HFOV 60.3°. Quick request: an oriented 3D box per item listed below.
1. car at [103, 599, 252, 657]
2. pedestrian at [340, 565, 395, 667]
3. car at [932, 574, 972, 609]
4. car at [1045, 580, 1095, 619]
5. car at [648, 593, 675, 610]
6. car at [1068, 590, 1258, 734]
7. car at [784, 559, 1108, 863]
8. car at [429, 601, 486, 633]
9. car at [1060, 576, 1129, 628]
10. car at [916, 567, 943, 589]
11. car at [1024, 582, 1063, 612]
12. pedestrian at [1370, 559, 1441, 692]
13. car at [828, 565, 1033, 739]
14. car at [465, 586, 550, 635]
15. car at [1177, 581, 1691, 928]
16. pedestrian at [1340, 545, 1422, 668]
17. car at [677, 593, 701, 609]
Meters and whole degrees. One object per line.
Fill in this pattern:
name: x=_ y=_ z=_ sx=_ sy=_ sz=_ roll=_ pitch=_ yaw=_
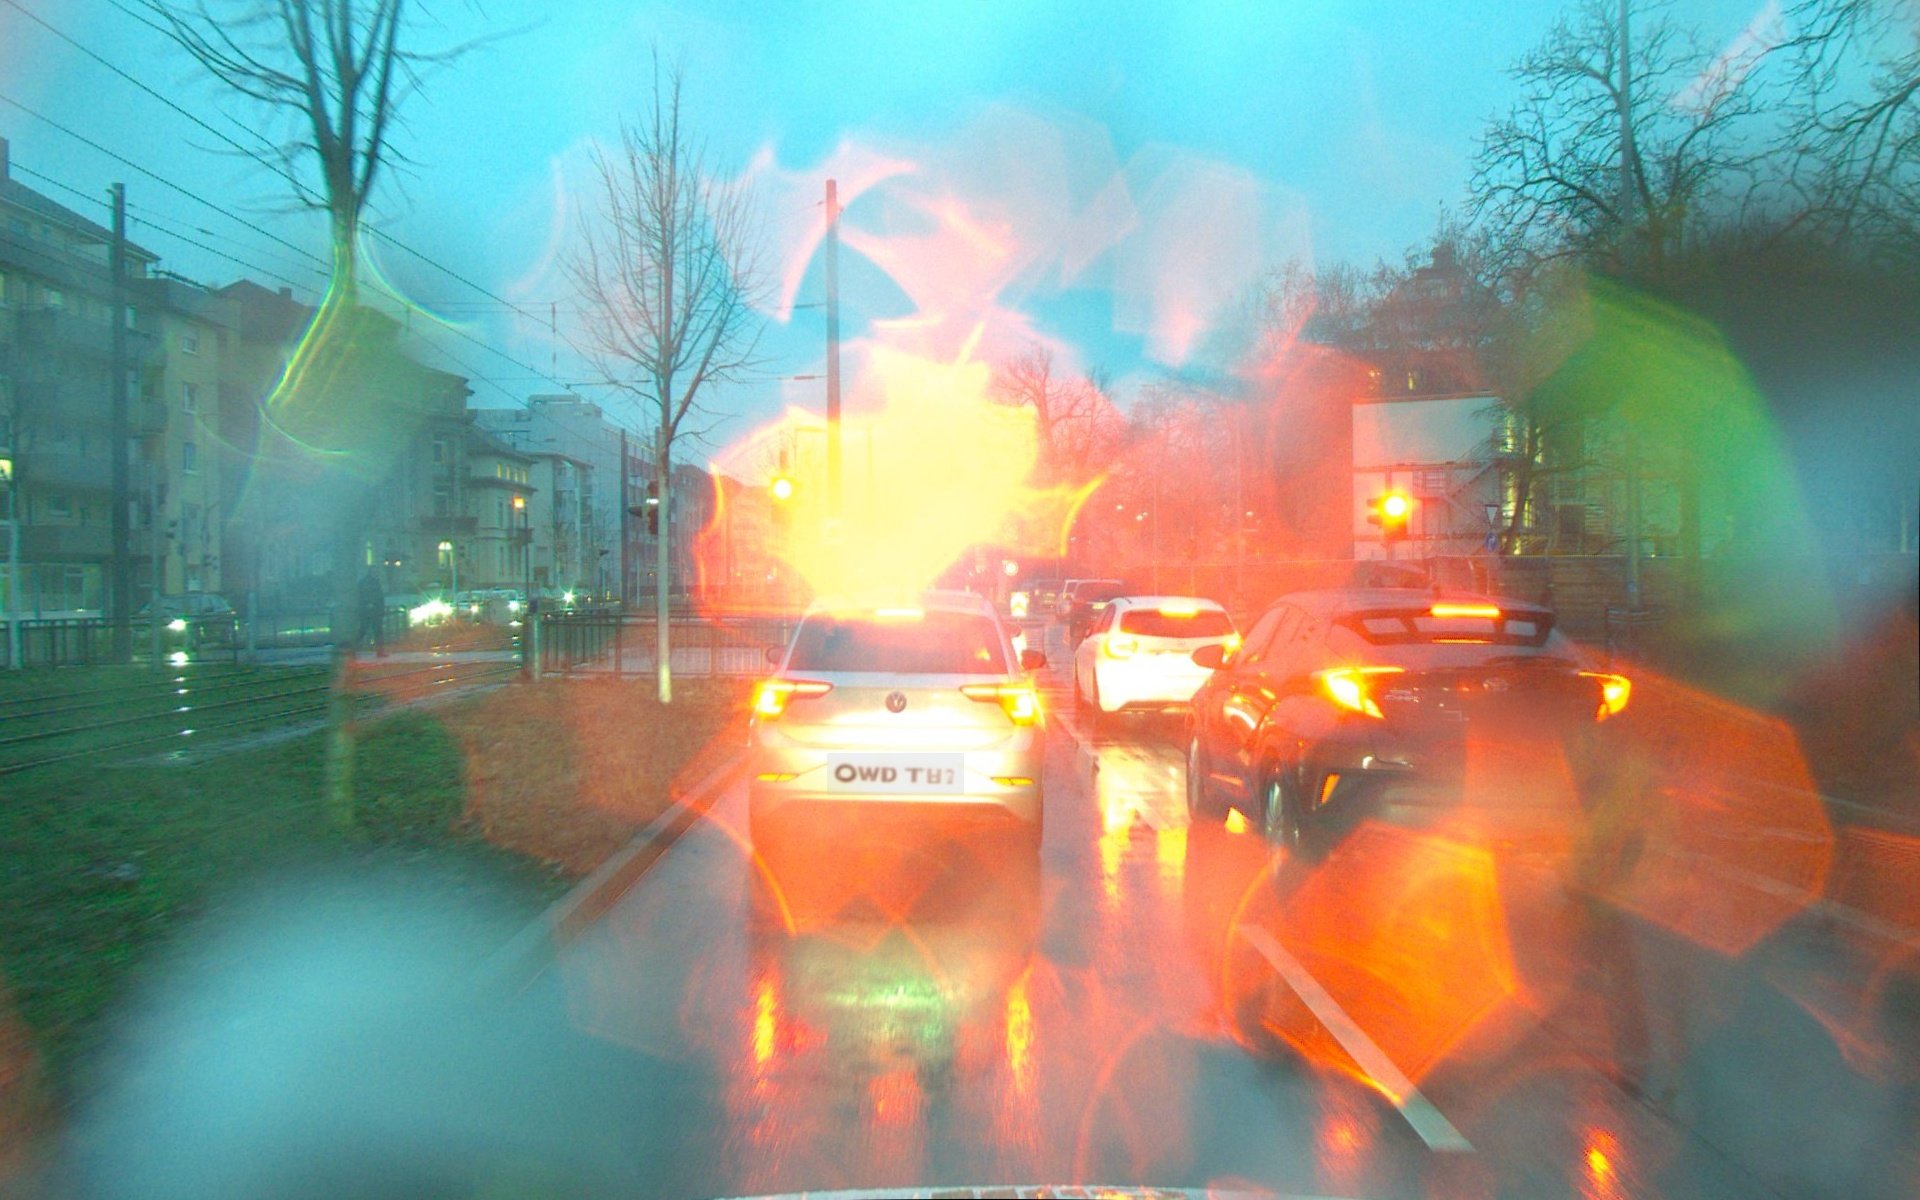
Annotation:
car: x=-20.118 y=0.690 z=42.731 sx=1.821 sy=1.355 sz=4.315 roll=1 pitch=0 yaw=-1
pedestrian: x=-12.183 y=0.318 z=34.042 sx=0.989 sy=2.049 sz=0.957 roll=-1 pitch=0 yaw=-18
car: x=-0.341 y=-0.389 z=73.216 sx=1.702 sy=1.444 sz=4.393 roll=-1 pitch=1 yaw=0
car: x=4.319 y=-0.038 z=65.536 sx=1.702 sy=1.444 sz=3.703 roll=-1 pitch=1 yaw=0
car: x=-29.258 y=0.114 z=162.032 sx=1.910 sy=1.630 sz=4.000 roll=1 pitch=0 yaw=0
car: x=2.240 y=0.640 z=19.123 sx=1.710 sy=1.458 sz=3.731 roll=1 pitch=0 yaw=0
car: x=-0.166 y=0.551 z=10.531 sx=1.659 sy=1.560 sz=3.998 roll=1 pitch=1 yaw=-3
car: x=-22.039 y=0.721 z=72.617 sx=1.658 sy=1.300 sz=4.142 roll=0 pitch=0 yaw=-7
car: x=3.957 y=0.031 z=49.200 sx=1.702 sy=1.444 sz=3.703 roll=-1 pitch=1 yaw=0
car: x=-2.033 y=-1.488 z=111.212 sx=1.702 sy=1.444 sz=3.803 roll=-1 pitch=1 yaw=0
car: x=4.178 y=-0.183 z=83.255 sx=1.702 sy=1.444 sz=4.146 roll=-1 pitch=1 yaw=0
pedestrian: x=7.025 y=0.395 z=26.118 sx=0.938 sy=2.049 sz=1.008 roll=-1 pitch=0 yaw=8
car: x=-0.270 y=0.424 z=16.709 sx=1.762 sy=1.492 sz=4.585 roll=-1 pitch=1 yaw=0
car: x=-16.044 y=0.365 z=58.806 sx=1.953 sy=1.630 sz=3.999 roll=1 pitch=0 yaw=-2
car: x=2.377 y=0.677 z=9.345 sx=1.763 sy=1.537 sz=3.895 roll=0 pitch=0 yaw=0
pedestrian: x=7.197 y=0.100 z=28.297 sx=0.946 sy=2.049 sz=1.001 roll=-1 pitch=0 yaw=-23
car: x=-29.318 y=0.102 z=179.069 sx=1.910 sy=1.630 sz=4.000 roll=1 pitch=0 yaw=0
